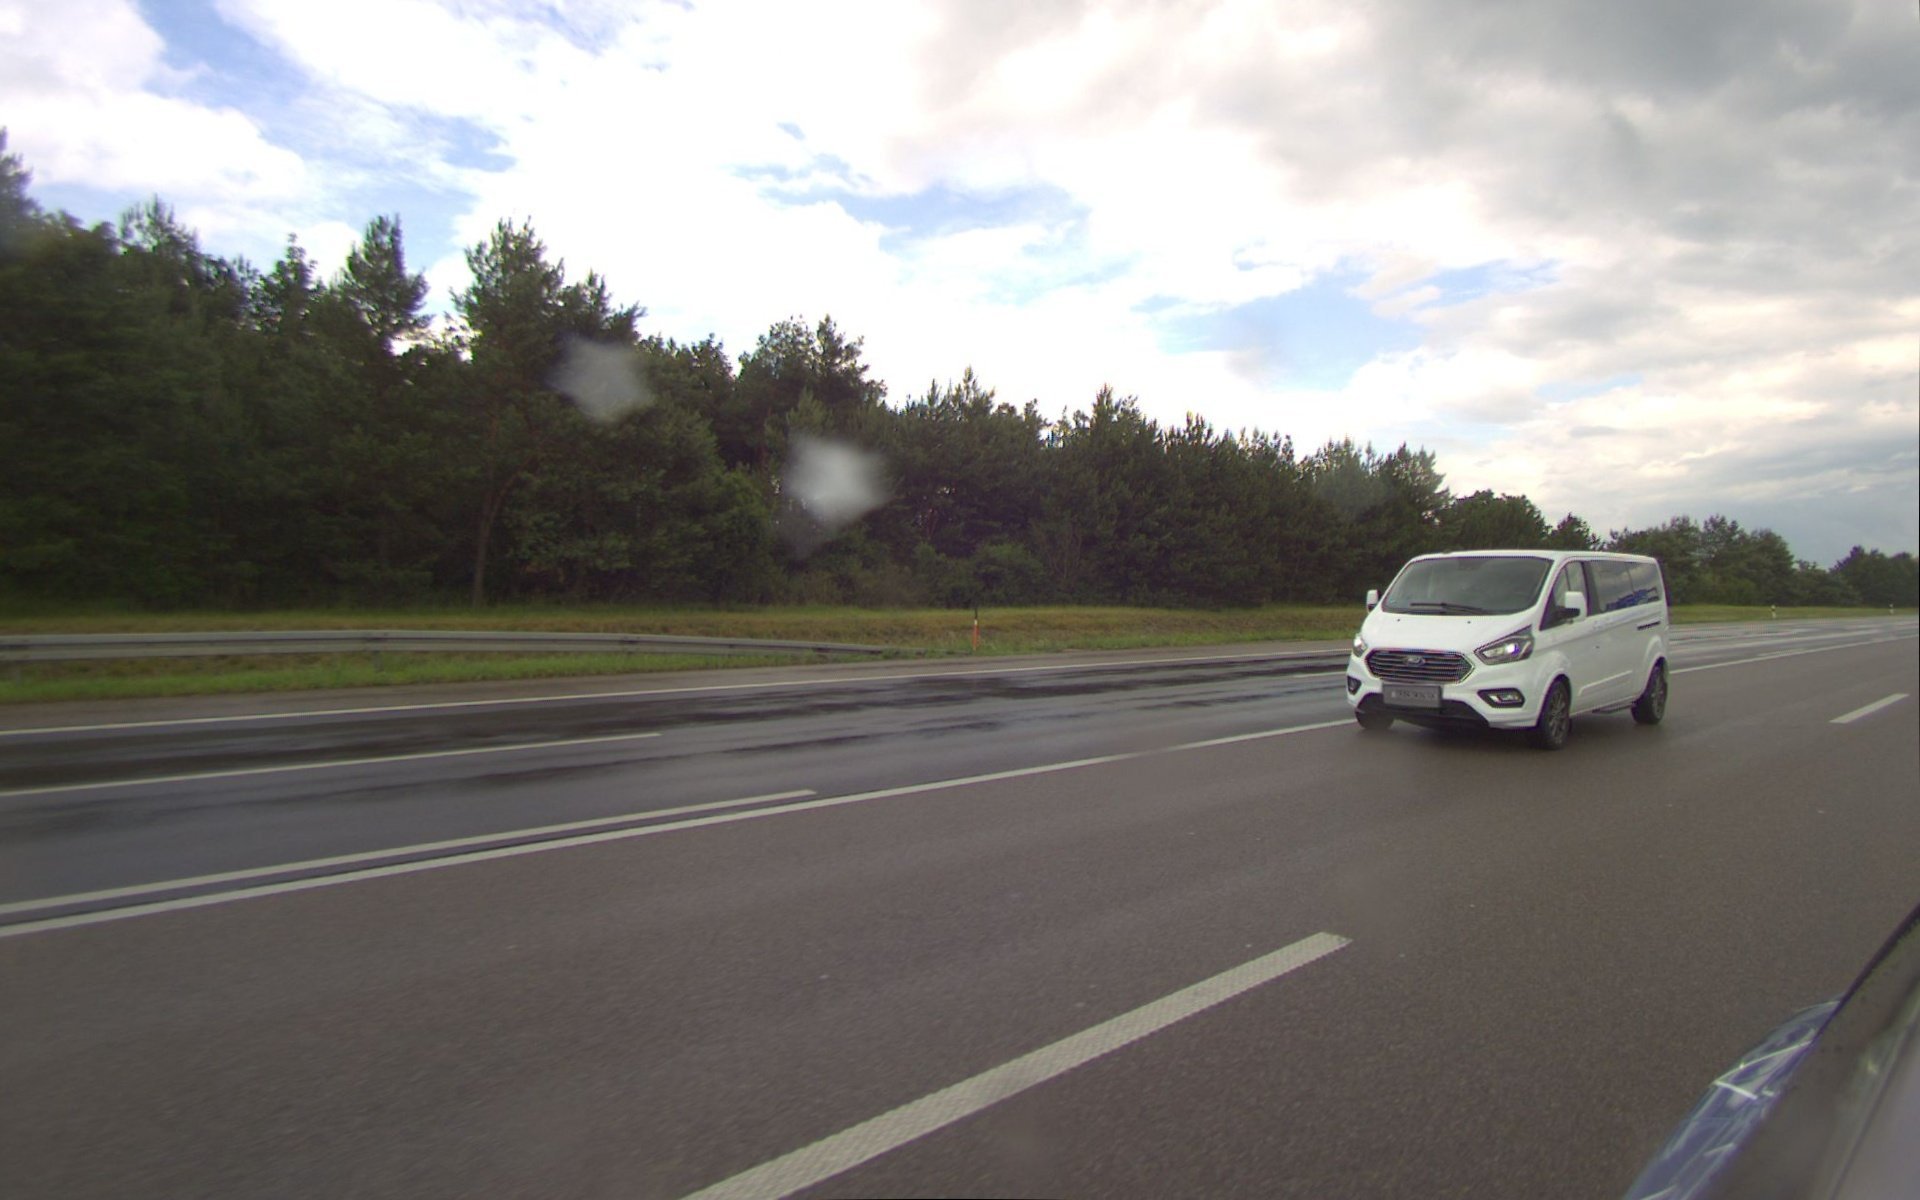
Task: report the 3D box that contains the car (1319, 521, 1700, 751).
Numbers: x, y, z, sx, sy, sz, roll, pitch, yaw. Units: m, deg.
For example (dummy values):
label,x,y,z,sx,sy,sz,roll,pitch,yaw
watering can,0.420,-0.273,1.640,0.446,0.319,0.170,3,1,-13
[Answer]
label,x,y,z,sx,sy,sz,roll,pitch,yaw
car,6.427,0.305,11.497,5.385,2.039,1.997,0,0,-40
